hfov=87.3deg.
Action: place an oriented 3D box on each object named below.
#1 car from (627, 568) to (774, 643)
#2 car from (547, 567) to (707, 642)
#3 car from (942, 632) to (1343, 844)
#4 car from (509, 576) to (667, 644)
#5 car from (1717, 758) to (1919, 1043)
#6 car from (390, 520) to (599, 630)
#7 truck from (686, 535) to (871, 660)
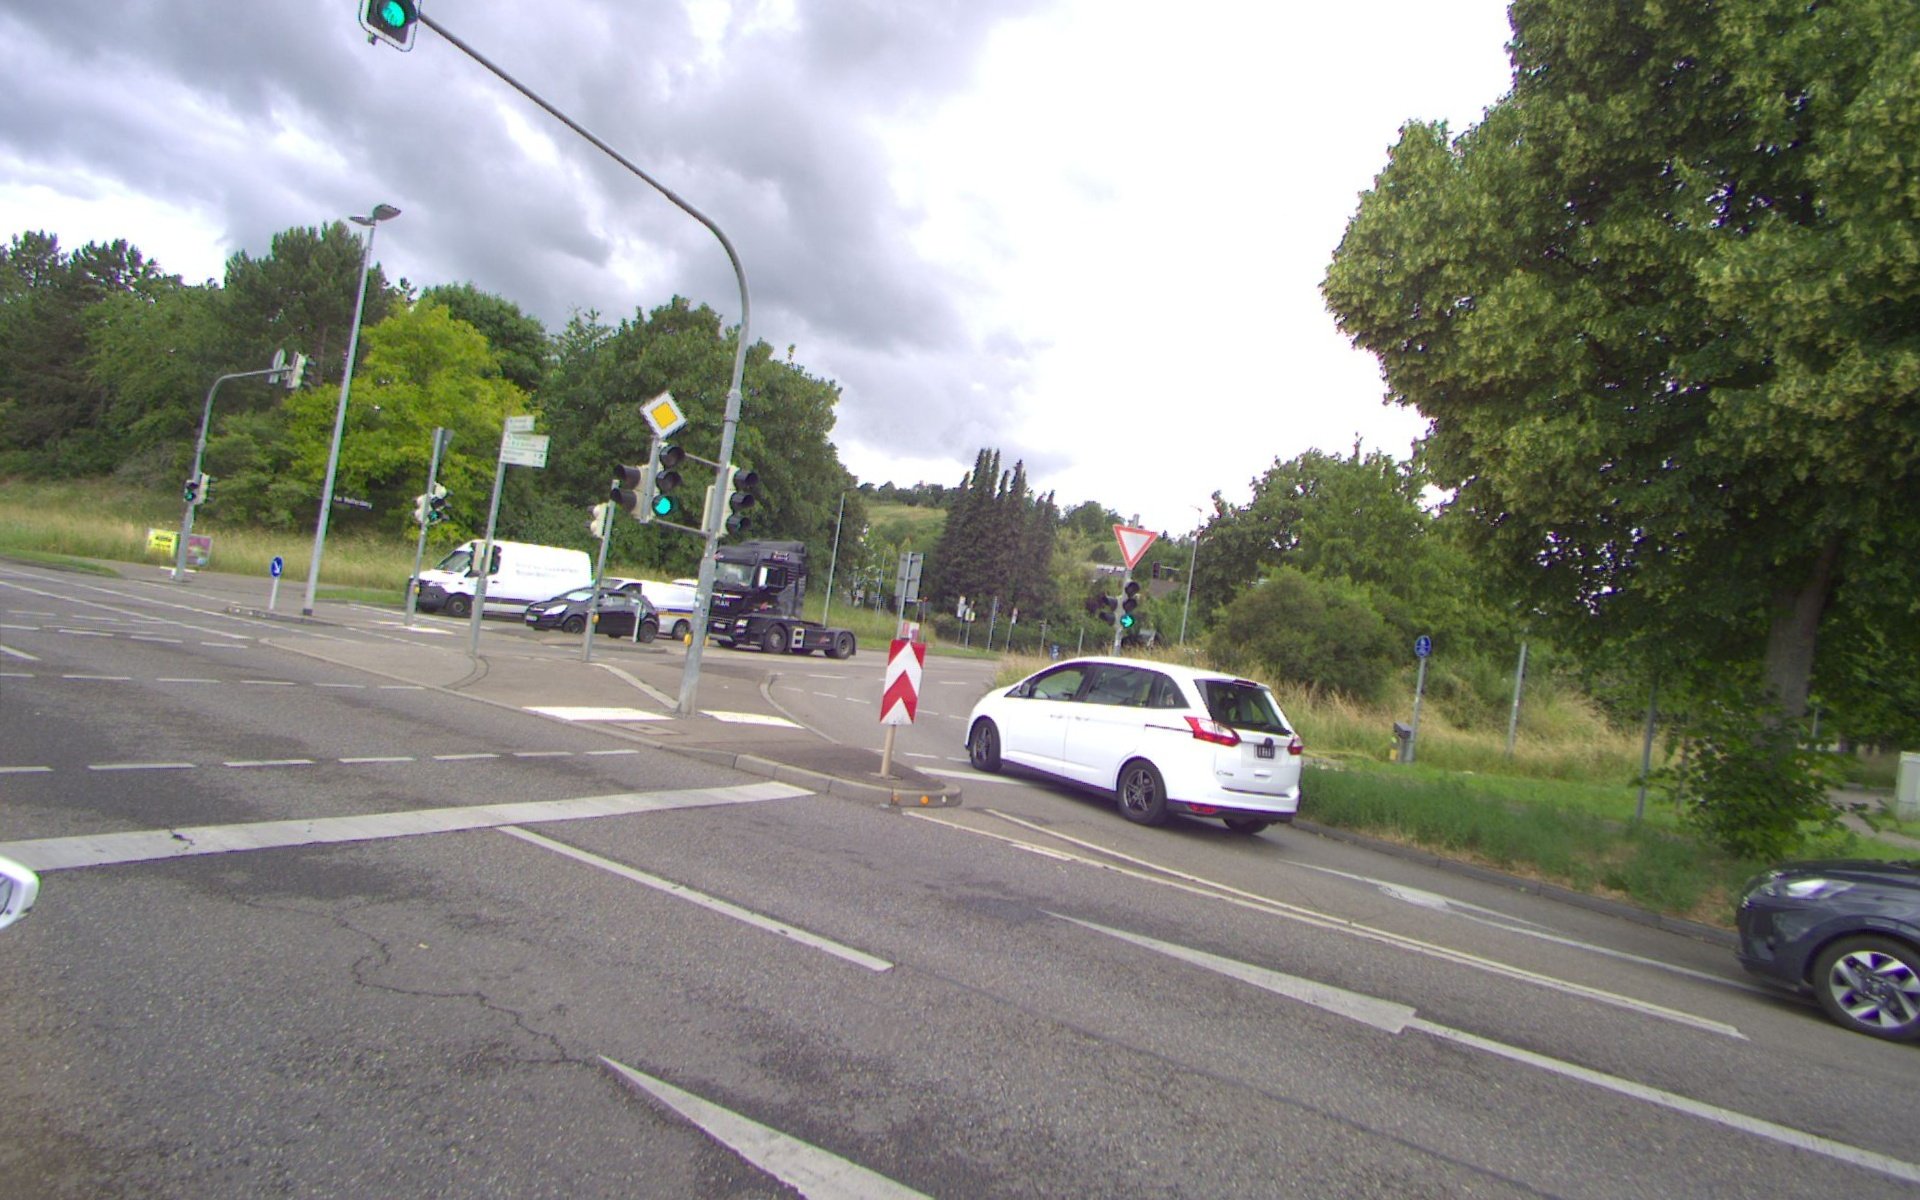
[{"bbox_3d":[-10.426,0.289,40.910,2.100,2.316,5.709,7,-1,32],"label":"car"},{"bbox_3d":[-11.195,0.205,34.216,1.999,1.918,4.862,7,-1,31],"label":"car"},{"bbox_3d":[1.830,1.434,11.518,1.770,1.611,4.420,12,-5,-33],"label":"car"},{"bbox_3d":[-10.606,0.335,28.935,1.703,1.453,3.927,7,-1,31],"label":"car"},{"bbox_3d":[6.689,1.992,5.789,3.563,1.445,1.622,6,-5,40],"label":"car"},{"bbox_3d":[-15.336,-0.737,33.603,2.100,2.814,5.903,7,-1,32],"label":"car"},{"bbox_3d":[-6.212,0.024,35.346,2.682,3.580,6.061,7,-1,32],"label":"truck"}]
